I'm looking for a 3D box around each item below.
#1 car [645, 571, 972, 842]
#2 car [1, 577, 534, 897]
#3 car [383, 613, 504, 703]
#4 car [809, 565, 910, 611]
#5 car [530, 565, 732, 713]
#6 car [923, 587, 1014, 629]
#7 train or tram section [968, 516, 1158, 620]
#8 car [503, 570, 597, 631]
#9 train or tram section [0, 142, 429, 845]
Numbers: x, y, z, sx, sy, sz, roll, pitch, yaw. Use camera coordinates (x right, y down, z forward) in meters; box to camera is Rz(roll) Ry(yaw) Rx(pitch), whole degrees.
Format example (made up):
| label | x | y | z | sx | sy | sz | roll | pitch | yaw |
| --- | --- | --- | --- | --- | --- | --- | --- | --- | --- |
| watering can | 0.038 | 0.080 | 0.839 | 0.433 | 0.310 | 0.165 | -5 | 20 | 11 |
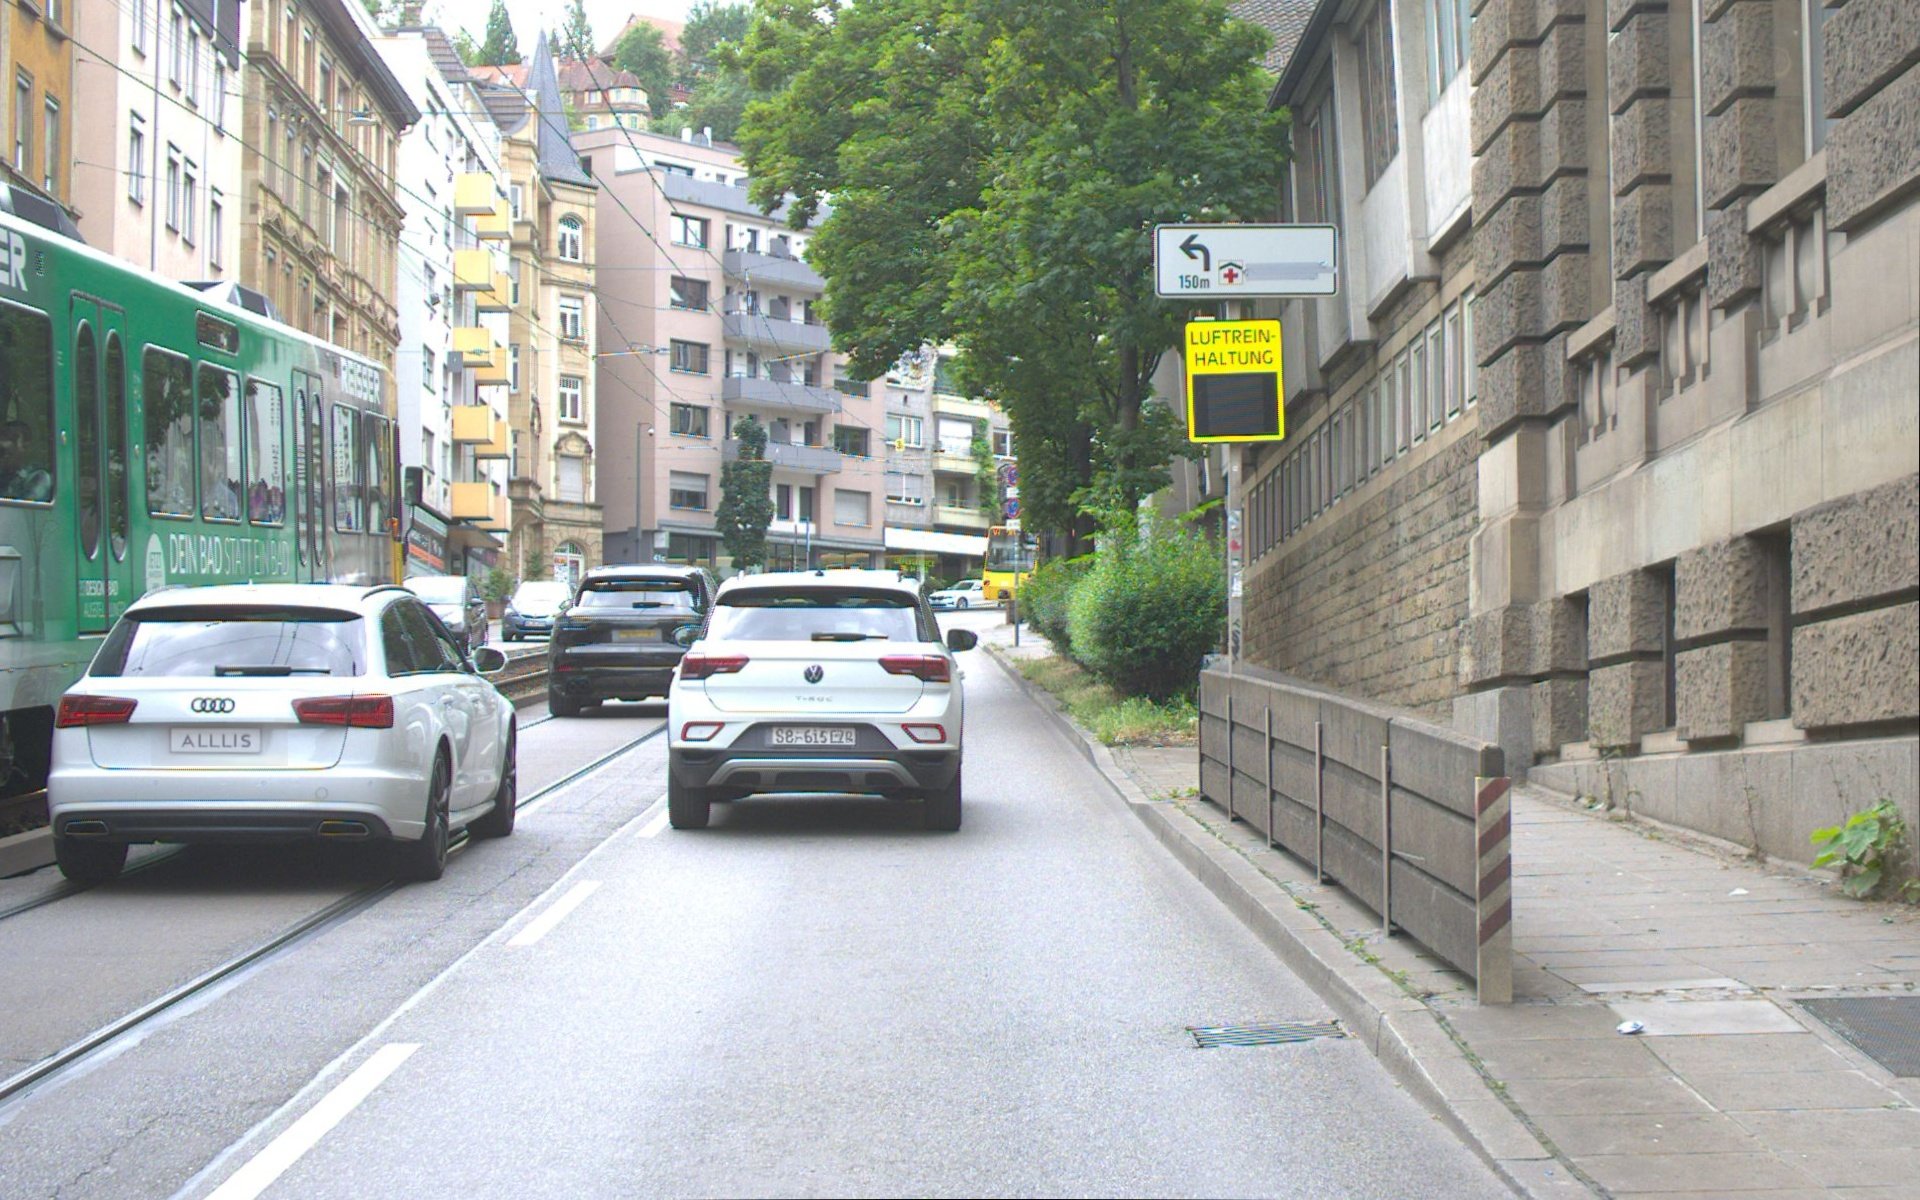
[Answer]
| label | x | y | z | sx | sy | sz | roll | pitch | yaw |
| --- | --- | --- | --- | --- | --- | --- | --- | --- | --- |
| car | -0.943 | 0.602 | 21.885 | 1.878 | 1.549 | 4.000 | 0 | 1 | -2 |
| car | -3.449 | 0.638 | 17.997 | 1.879 | 1.450 | 4.617 | 0 | 0 | 0 |
| car | -9.791 | 1.076 | 65.395 | 1.743 | 1.590 | 3.969 | 1 | 0 | -1 |
| car | -4.509 | -0.553 | 154.928 | 1.998 | 2.028 | 4.691 | 1 | 0 | 38 |
| car | -3.652 | 0.400 | 38.823 | 2.038 | 1.566 | 4.358 | 0 | 1 | -2 |
| car | 0.397 | 0.384 | 160.312 | 1.908 | 1.916 | 4.425 | 1 | 0 | 38 |
| train or tram section | 4.705 | -1.283 | 148.976 | 3.019 | 4.199 | 18.842 | 2 | 0 | 18 |
| car | -10.215 | 0.001 | 85.860 | 1.843 | 1.450 | 4.661 | 1 | 0 | -1 |
| train or tram section | -6.590 | -0.640 | 24.304 | 2.876 | 3.713 | 18.757 | 2 | 0 | -1 |
